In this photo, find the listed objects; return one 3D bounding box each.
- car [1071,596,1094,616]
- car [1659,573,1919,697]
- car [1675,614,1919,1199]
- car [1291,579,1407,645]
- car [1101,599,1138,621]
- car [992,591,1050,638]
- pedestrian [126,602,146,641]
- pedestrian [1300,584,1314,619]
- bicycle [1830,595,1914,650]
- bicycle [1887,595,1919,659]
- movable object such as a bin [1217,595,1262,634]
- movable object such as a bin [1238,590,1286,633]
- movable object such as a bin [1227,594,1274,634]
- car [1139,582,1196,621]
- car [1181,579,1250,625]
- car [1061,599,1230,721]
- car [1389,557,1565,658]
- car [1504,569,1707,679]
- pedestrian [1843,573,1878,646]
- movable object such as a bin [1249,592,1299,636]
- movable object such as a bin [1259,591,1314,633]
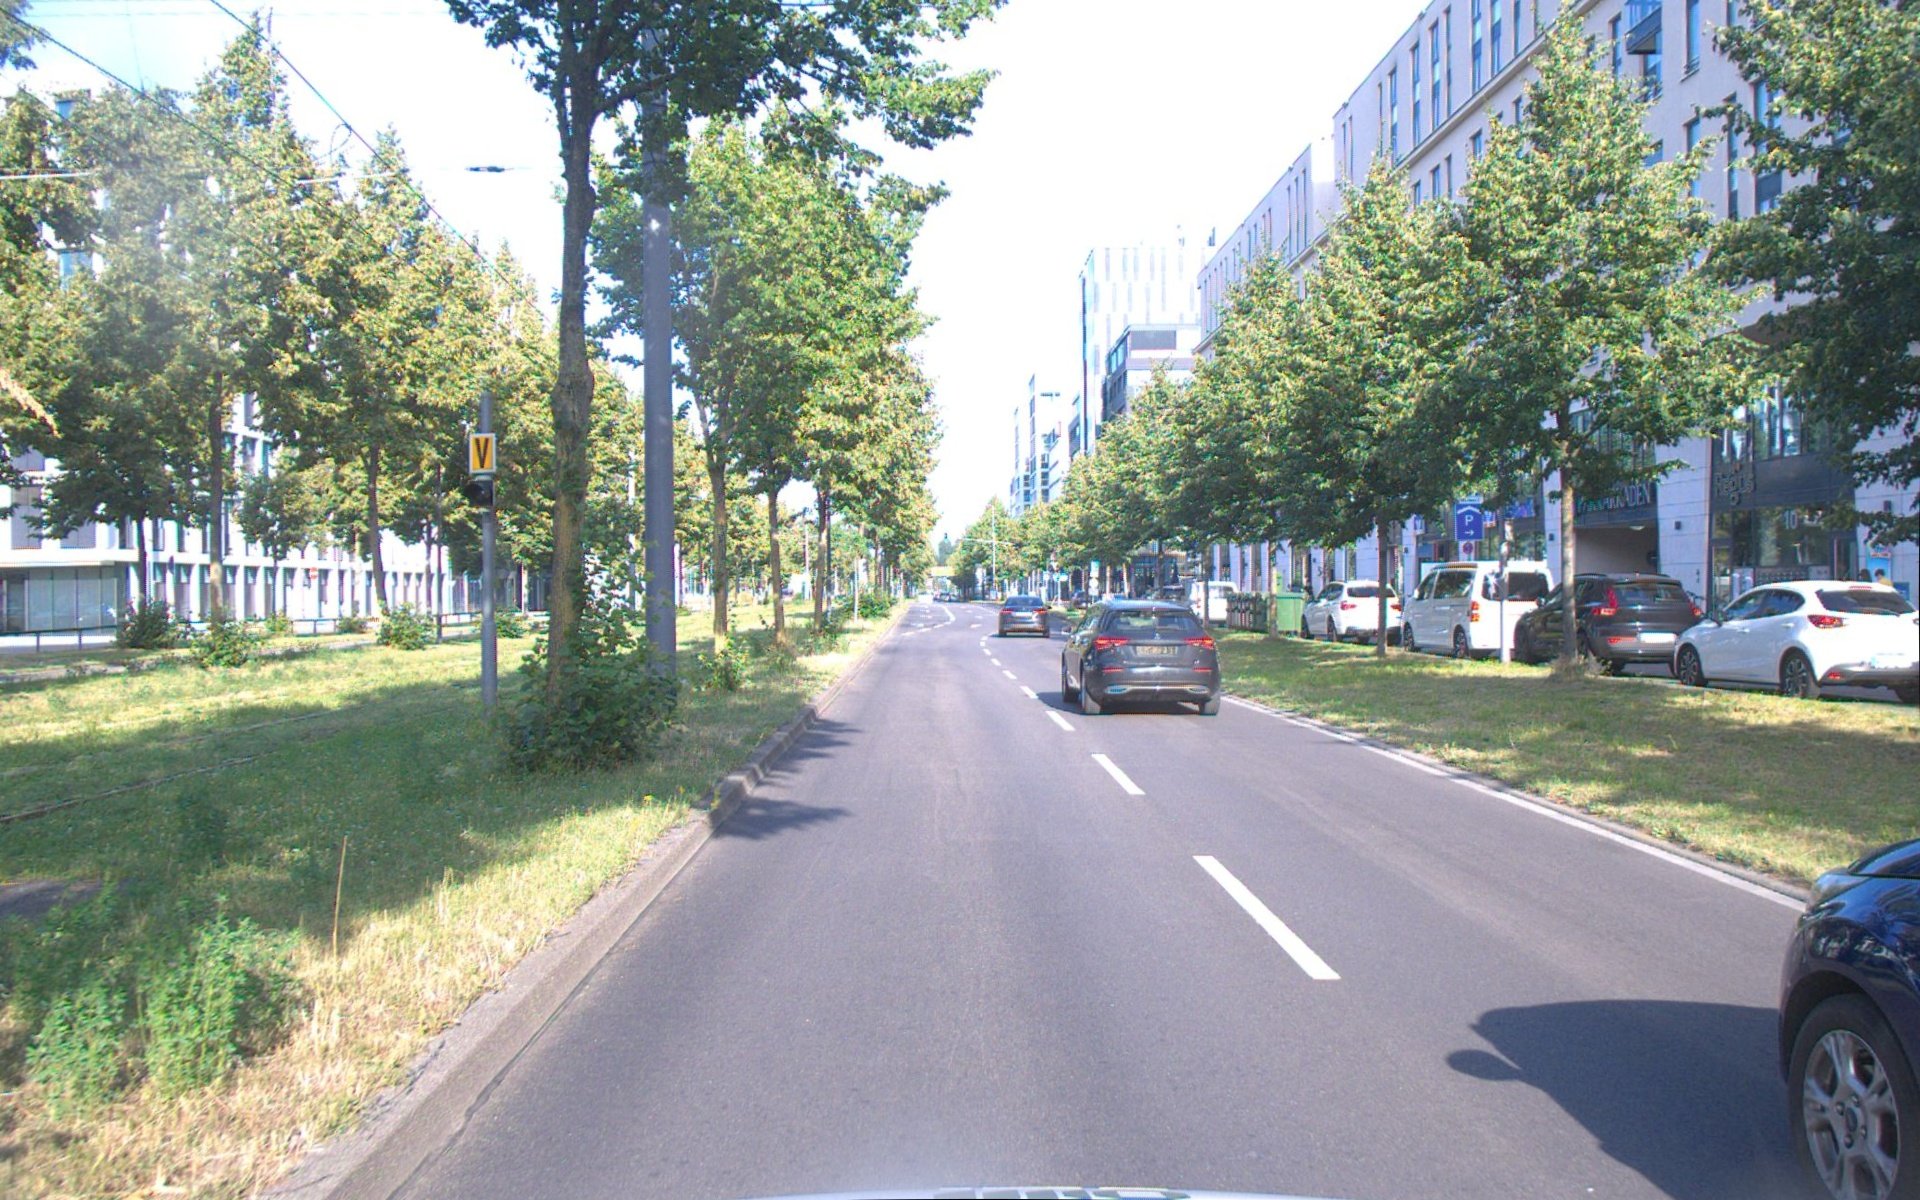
[{"bbox_3d":[8.858,0.423,119.958,1.573,1.394,4.159,1,0,3],"label":"car"},{"bbox_3d":[10.941,0.431,21.653,1.584,1.437,4.164,1,0,-4],"label":"car"},{"bbox_3d":[2.915,0.768,2.912,1.528,1.449,3.906,1,0,-2],"label":"car"},{"bbox_3d":[10.458,0.296,44.799,1.696,1.658,4.846,-1,0,-4],"label":"car"},{"bbox_3d":[9.489,0.610,98.833,1.674,1.264,3.903,1,0,-2],"label":"car"},{"bbox_3d":[2.105,0.505,58.044,1.822,1.551,3.784,1,0,-1],"label":"car"},{"bbox_3d":[-37.347,0.981,74.978,0.556,1.758,0.691,1,-1,-2],"label":"pedestrian"},{"bbox_3d":[18.016,0.081,85.872,0.526,1.793,0.646,1,-1,-1],"label":"pedestrian"},{"bbox_3d":[17.728,0.430,32.192,0.410,1.018,2.043,-4,0,-1],"label":"bicycle"},{"bbox_3d":[18.026,0.424,29.932,2.057,1.118,0.421,-4,-1,15],"label":"bicycle"},{"bbox_3d":[9.448,0.491,55.924,1.252,1.258,1.190,1,-1,-5],"label":"movable object such as a bin"},{"bbox_3d":[9.707,0.381,53.212,1.252,1.341,1.190,1,-1,-5],"label":"movable object such as a bin"},{"bbox_3d":[9.577,0.458,54.567,1.252,1.258,1.190,1,-1,-5],"label":"movable object such as a bin"},{"bbox_3d":[9.749,0.028,78.037,1.859,1.738,4.675,1,1,-3],"label":"car"},{"bbox_3d":[10.140,0.100,65.878,1.791,1.741,4.292,1,0,-4],"label":"car"},{"bbox_3d":[2.372,0.737,22.066,1.738,1.449,3.960,1,0,-1],"label":"car"},{"bbox_3d":[10.651,0.158,34.475,1.801,1.909,5.027,1,0,-4],"label":"car"},{"bbox_3d":[10.736,0.388,27.847,1.693,1.679,4.339,1,0,-1],"label":"car"},{"bbox_3d":[19.337,0.208,35.508,0.586,1.548,0.513,0,-1,37],"label":"pedestrian"},{"bbox_3d":[9.831,0.436,51.872,1.252,1.325,1.190,1,-1,-5],"label":"movable object such as a bin"},{"bbox_3d":[9.951,0.362,50.382,1.371,1.258,1.334,1,-1,26],"label":"movable object such as a bin"}]
